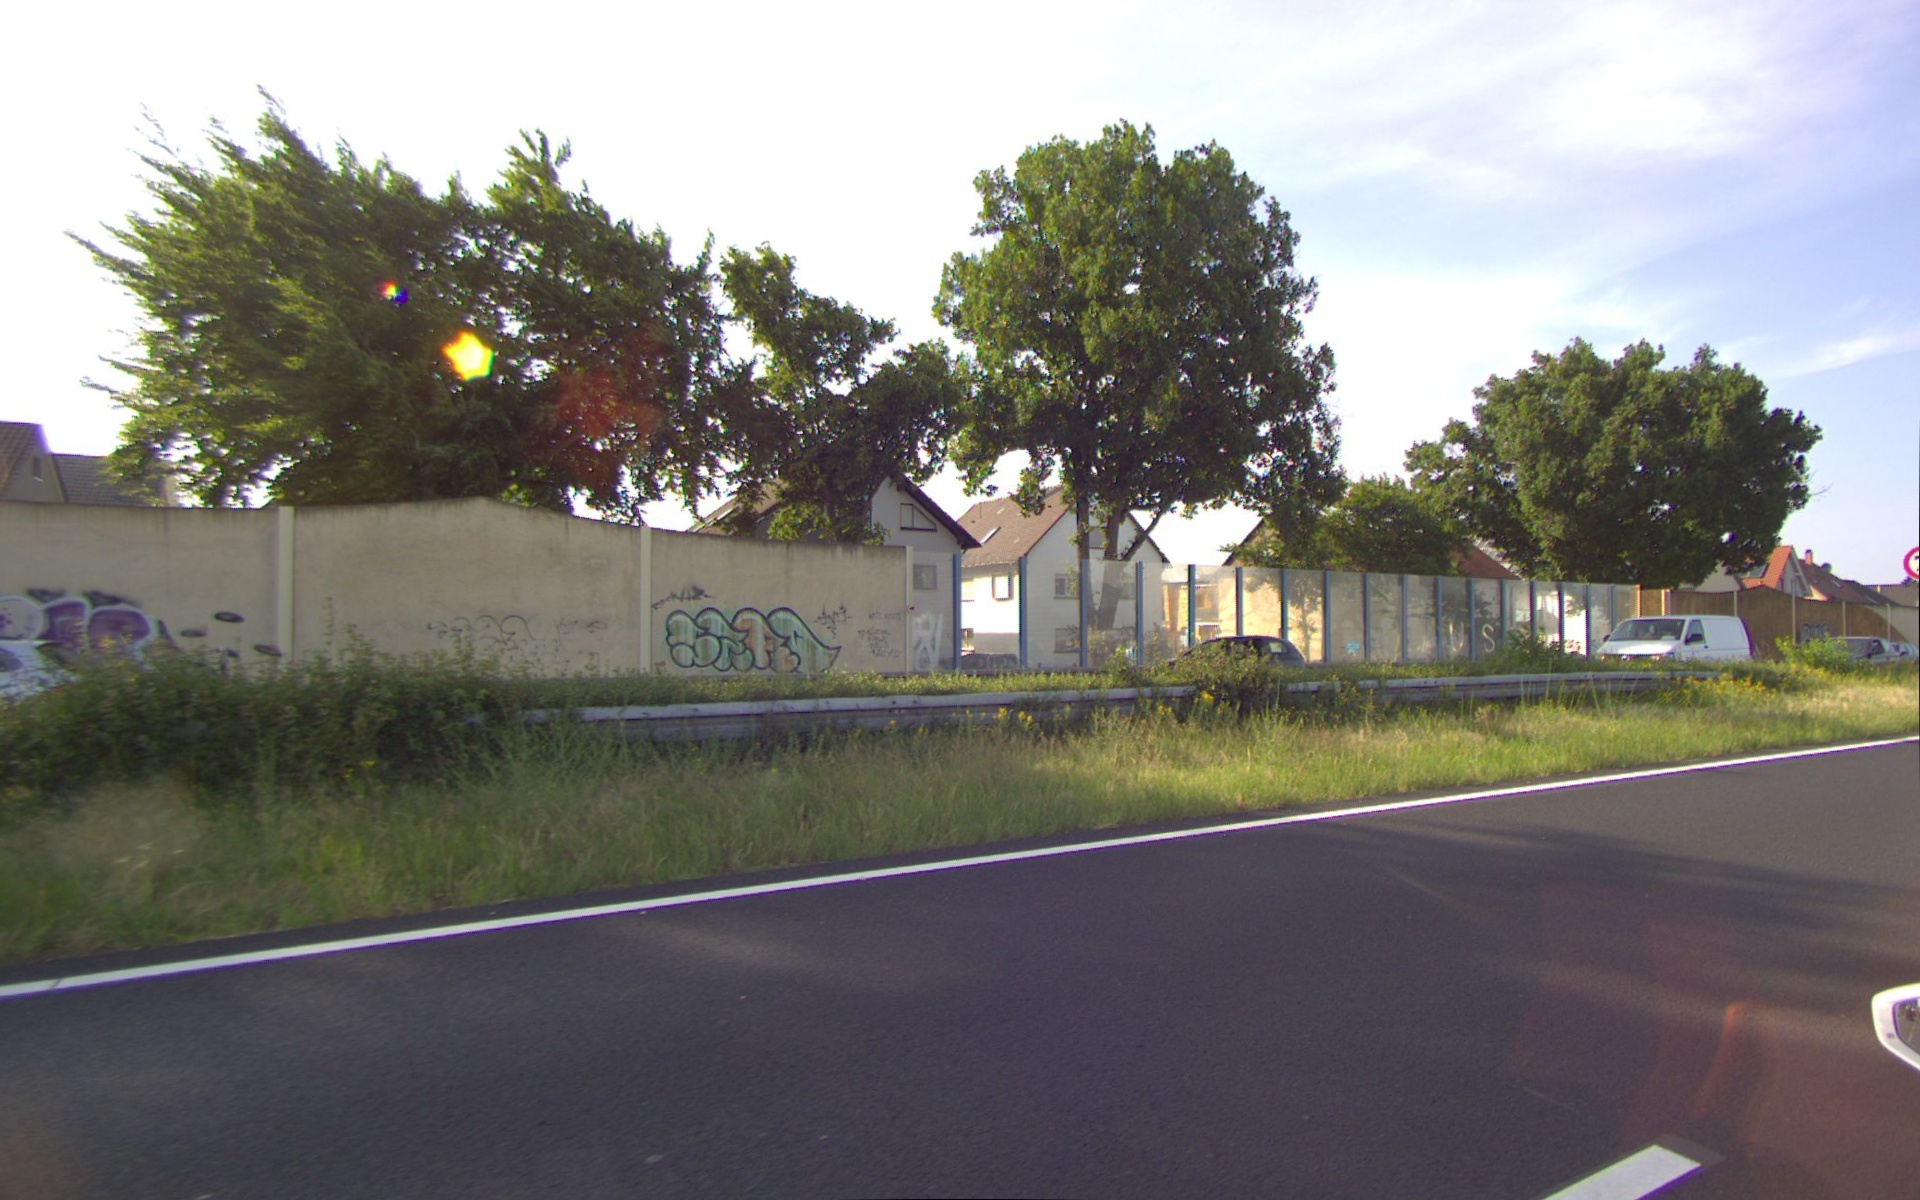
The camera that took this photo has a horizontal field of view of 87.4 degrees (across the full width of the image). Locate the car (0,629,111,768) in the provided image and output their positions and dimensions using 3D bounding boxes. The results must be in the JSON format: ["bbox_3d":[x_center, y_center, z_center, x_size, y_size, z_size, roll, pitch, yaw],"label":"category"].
[{"bbox_3d":[-12.045,1.067,10.987,3.955,1.461,1.745,1,0,-32],"label":"car"}]

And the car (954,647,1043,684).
[{"bbox_3d":[1.577,2.670,41.162,3.309,1.396,1.603,1,0,-23],"label":"car"}]

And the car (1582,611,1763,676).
[{"bbox_3d":[18.280,1.087,25.706,5.003,1.503,1.971,1,0,-32],"label":"car"}]

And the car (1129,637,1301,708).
[{"bbox_3d":[5.696,1.560,22.387,3.565,1.397,1.666,1,0,-30],"label":"car"}]

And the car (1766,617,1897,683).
[{"bbox_3d":[26.473,1.476,30.483,4.319,1.857,1.754,1,0,-31],"label":"car"}]
